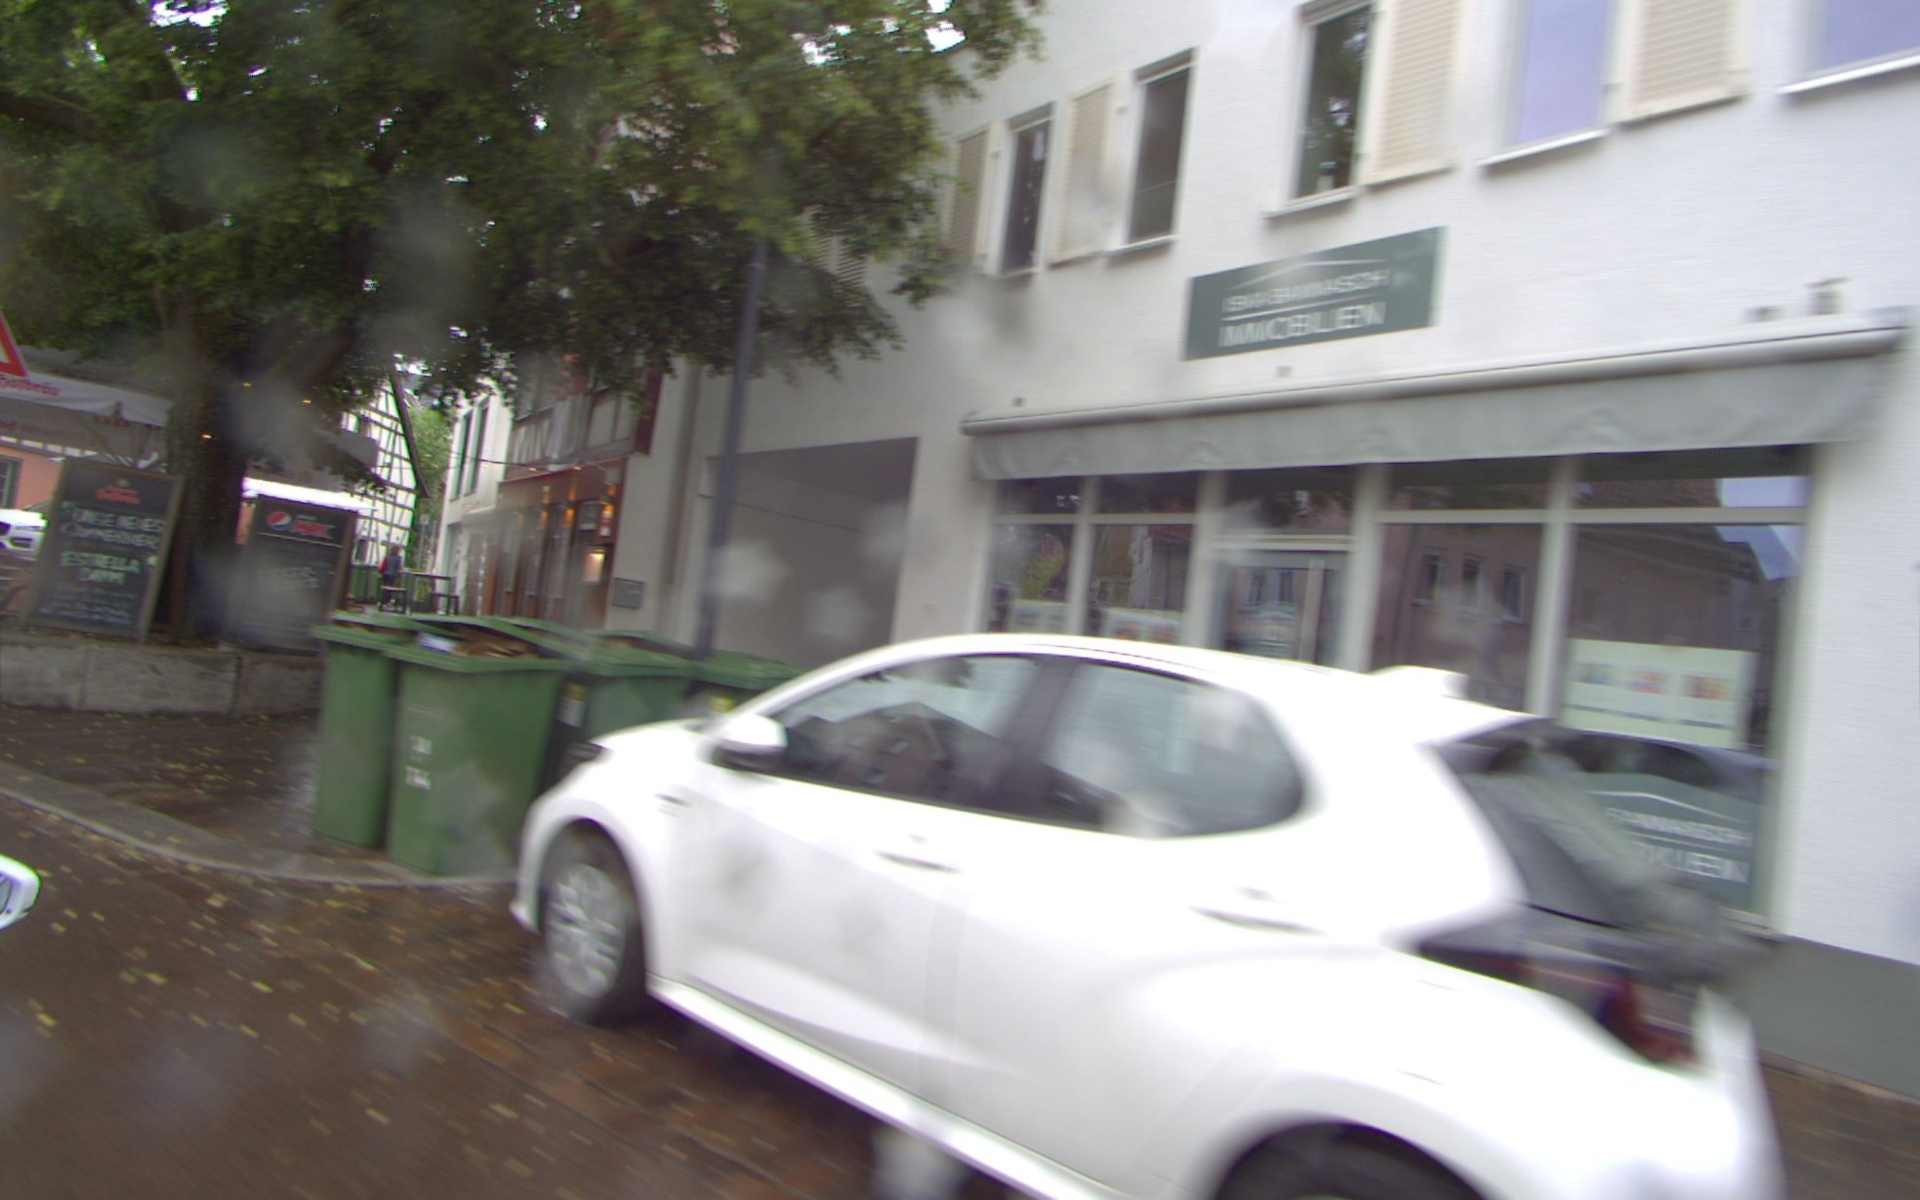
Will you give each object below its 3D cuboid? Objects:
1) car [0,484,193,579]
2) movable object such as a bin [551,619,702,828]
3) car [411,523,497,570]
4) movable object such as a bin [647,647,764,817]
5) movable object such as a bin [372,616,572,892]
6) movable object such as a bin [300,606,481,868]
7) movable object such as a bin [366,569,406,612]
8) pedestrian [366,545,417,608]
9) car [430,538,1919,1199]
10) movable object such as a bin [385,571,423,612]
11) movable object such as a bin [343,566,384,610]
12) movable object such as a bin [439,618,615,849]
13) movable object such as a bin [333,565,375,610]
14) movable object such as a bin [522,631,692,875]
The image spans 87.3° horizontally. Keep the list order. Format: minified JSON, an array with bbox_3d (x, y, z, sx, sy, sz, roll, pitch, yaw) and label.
[{"bbox_3d":[-21.367,-1.637,24.355,1.910,1.649,4.470,10,-2,0],"label":"car"},{"bbox_3d":[-2.046,0.742,6.201,0.570,1.162,0.504,6,-1,28],"label":"movable object such as a bin"},{"bbox_3d":[-22.997,-2.392,45.940,1.964,1.547,4.001,7,-2,-4],"label":"car"},{"bbox_3d":[-1.726,0.885,6.848,0.492,1.059,0.431,6,-1,28],"label":"movable object such as a bin"},{"bbox_3d":[-2.285,0.697,4.735,0.492,1.162,0.535,6,-1,28],"label":"movable object such as a bin"},{"bbox_3d":[-2.827,0.660,5.010,0.480,1.182,0.478,6,-1,28],"label":"movable object such as a bin"},{"bbox_3d":[-16.239,-0.266,28.469,0.595,1.106,0.656,7,-1,1],"label":"movable object such as a bin"},{"bbox_3d":[-15.099,-0.607,26.743,0.747,1.535,0.841,7,-1,-6],"label":"pedestrian"},{"bbox_3d":[0.332,0.798,3.174,4.336,1.557,1.691,6,-2,36],"label":"car"},{"bbox_3d":[-16.208,-0.249,29.345,0.595,1.106,0.656,7,-1,1],"label":"movable object such as a bin"},{"bbox_3d":[-16.290,-0.329,27.499,0.595,1.106,0.656,7,-1,1],"label":"movable object such as a bin"},{"bbox_3d":[-2.426,0.728,5.662,0.575,1.162,0.546,6,-2,28],"label":"movable object such as a bin"},{"bbox_3d":[-16.136,-0.329,26.796,0.595,1.106,0.656,7,-1,1],"label":"movable object such as a bin"},{"bbox_3d":[-1.860,0.786,5.332,0.492,1.162,0.531,6,-1,28],"label":"movable object such as a bin"}]
